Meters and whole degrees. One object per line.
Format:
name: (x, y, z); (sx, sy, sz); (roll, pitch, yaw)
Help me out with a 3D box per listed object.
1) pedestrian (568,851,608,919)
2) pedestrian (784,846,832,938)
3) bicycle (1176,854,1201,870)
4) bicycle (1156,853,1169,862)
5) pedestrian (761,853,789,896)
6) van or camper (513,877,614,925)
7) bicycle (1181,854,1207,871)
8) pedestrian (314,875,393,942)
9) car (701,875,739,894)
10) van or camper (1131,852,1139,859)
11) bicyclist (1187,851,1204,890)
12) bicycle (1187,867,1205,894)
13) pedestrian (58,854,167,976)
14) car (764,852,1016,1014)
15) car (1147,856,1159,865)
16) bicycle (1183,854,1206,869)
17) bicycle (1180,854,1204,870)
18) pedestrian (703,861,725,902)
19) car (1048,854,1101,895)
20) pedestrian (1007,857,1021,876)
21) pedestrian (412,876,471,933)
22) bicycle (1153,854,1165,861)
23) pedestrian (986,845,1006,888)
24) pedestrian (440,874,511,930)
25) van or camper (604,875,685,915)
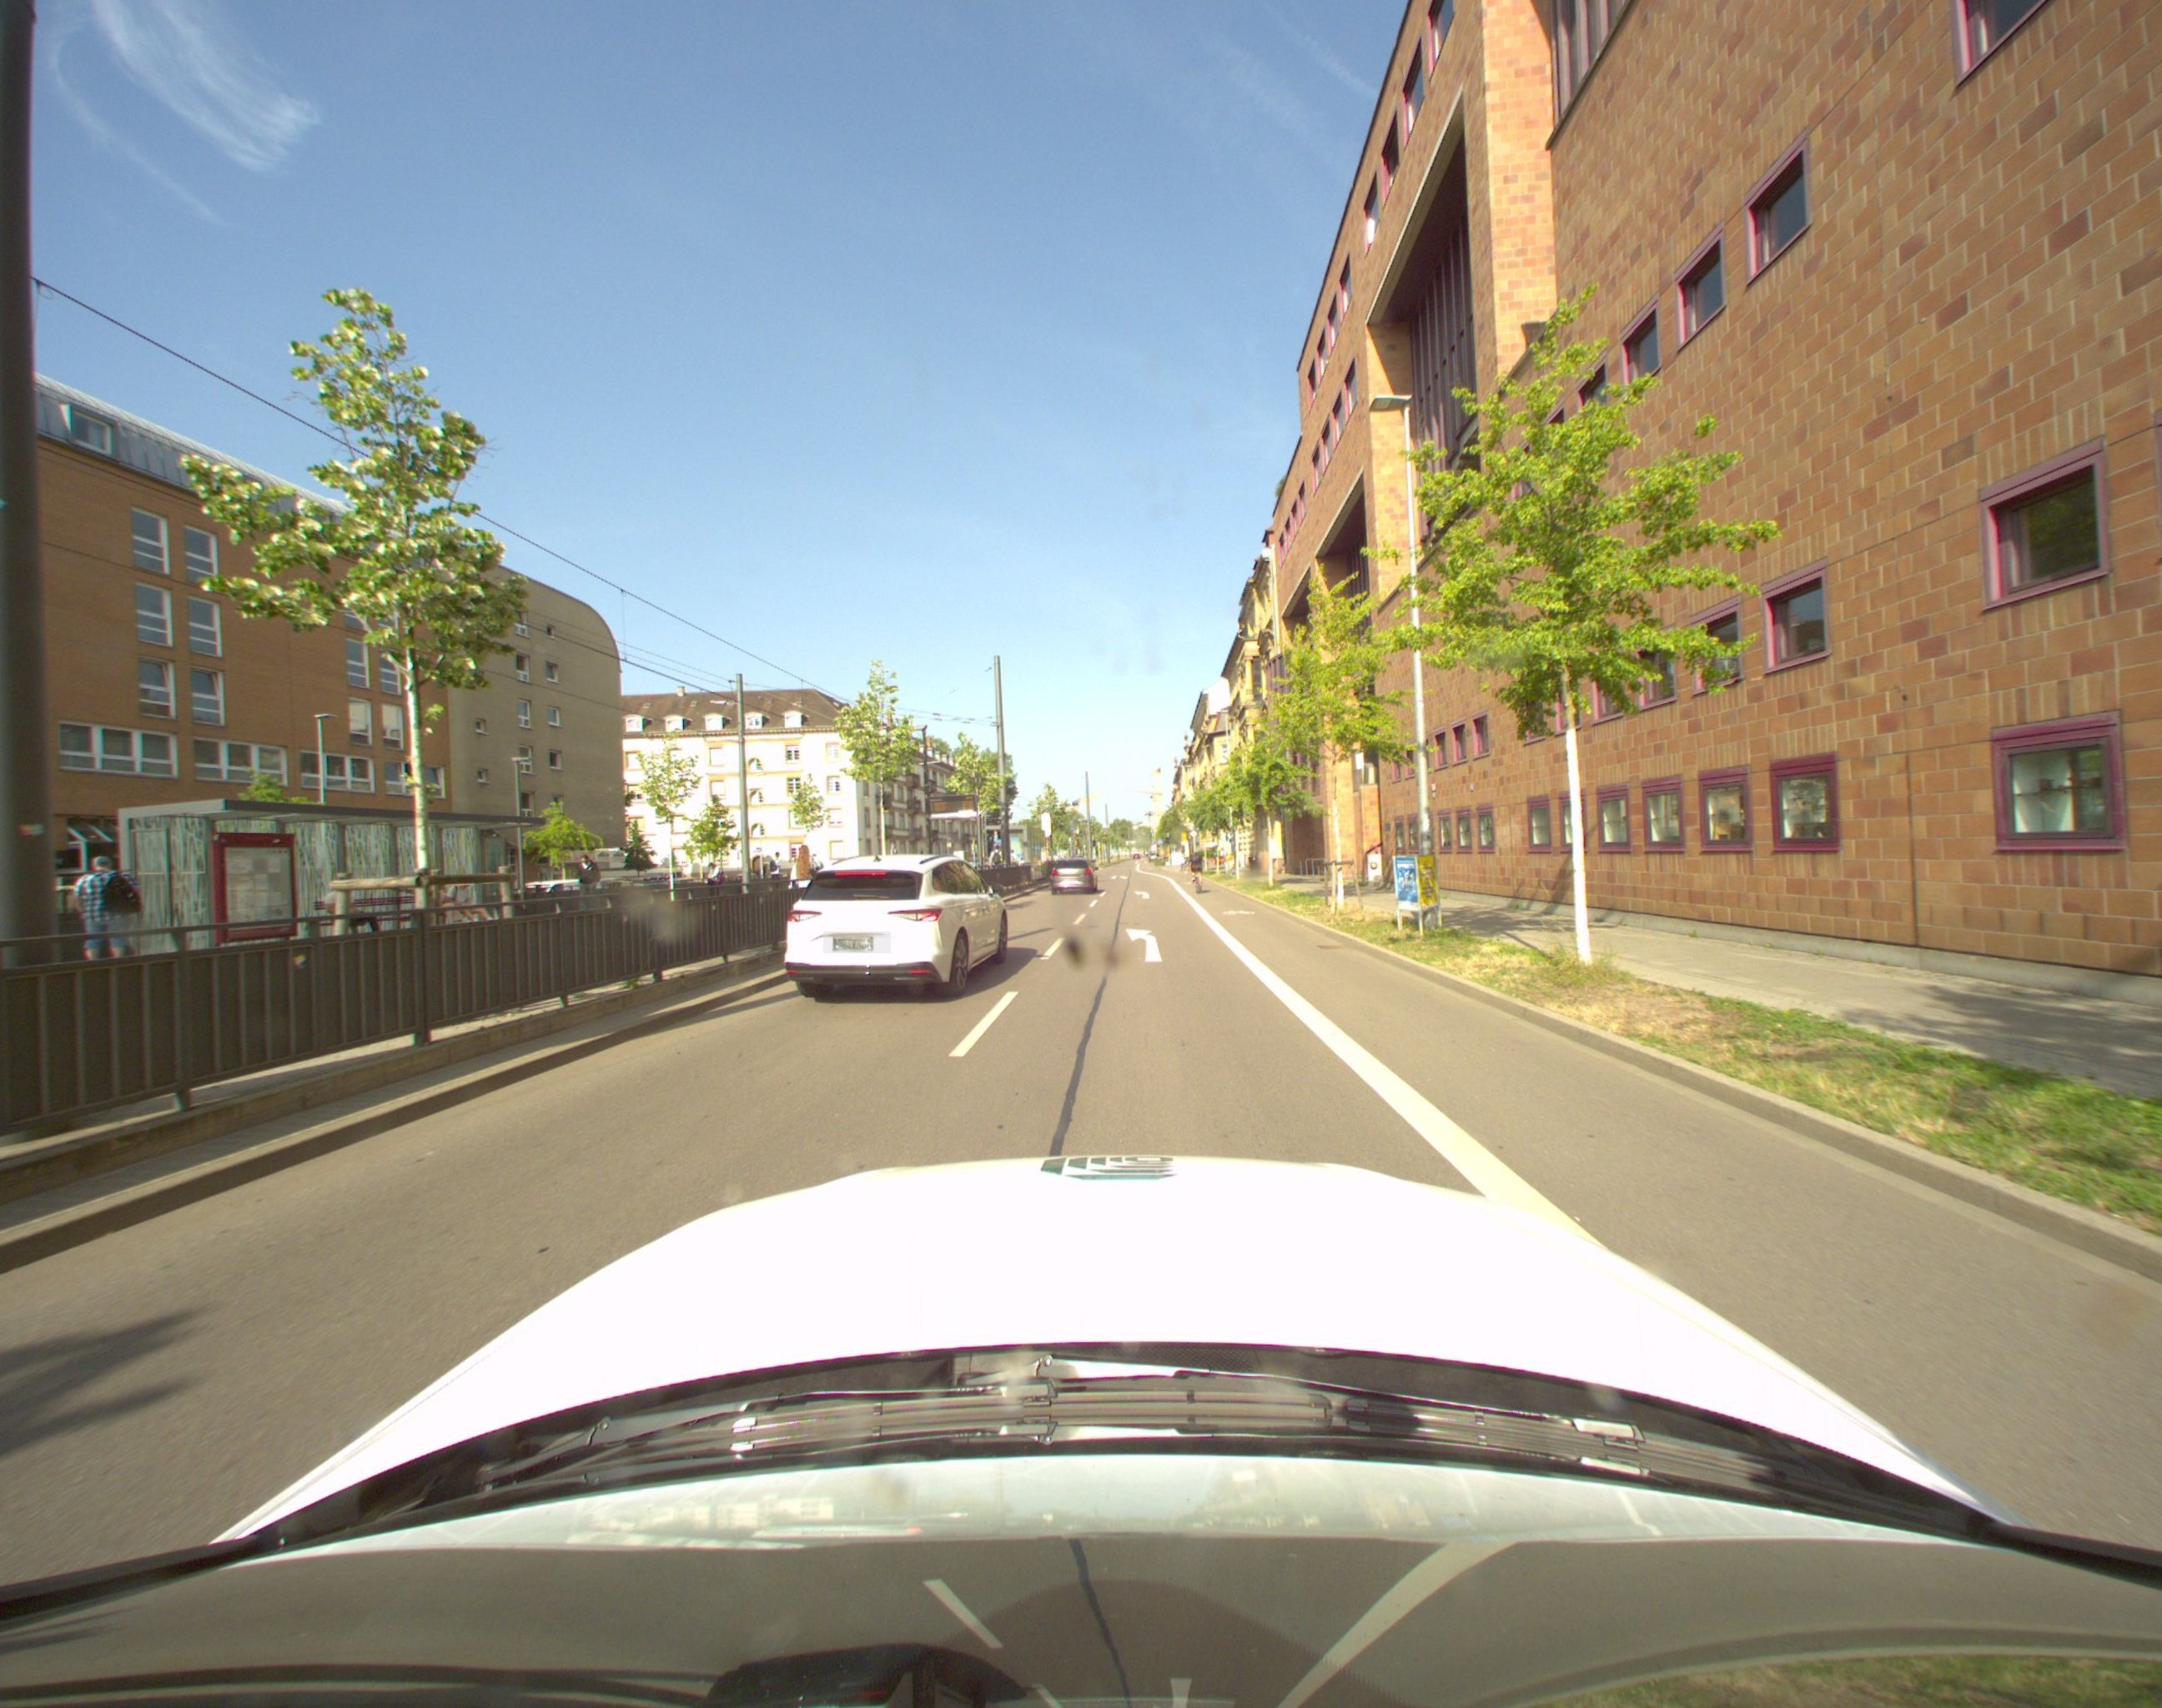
pedestrian: (-14.191, 0.882, 23.455); (0.812, 1.886, 0.548); (-2, -1, -43)
pedestrian: (-5.336, 0.723, 15.937); (0.670, 1.758, 0.727); (0, -1, 3)
bicycle: (8.392, 0.644, 63.663); (1.761, 1.087, 0.668); (-6, 0, -19)
bicycle: (12.451, 0.530, 124.417); (1.802, 1.096, 0.671); (-5, 0, -1)
pedestrian: (-13.486, 0.891, 35.917); (0.735, 1.872, 0.941); (-3, 0, 6)
van or camper: (-25.610, 2.295, 40.507); (1.982, 2.013, 4.010); (-3, 0, 9)
bicycle: (8.429, 0.662, 60.944); (1.753, 1.087, 0.610); (-6, 0, -5)
pedestrian: (-15.419, 1.147, 17.278); (0.866, 1.314, 0.809); (-3, 0, 1)
car: (-33.060, 2.759, 74.693); (1.668, 1.532, 3.924); (-3, 0, -1)
van or camper: (14.507, 0.404, 219.463); (1.985, 1.655, 4.004); (-3, 0, 4)
bicyclist: (4.440, 0.636, 31.601); (0.581, 1.482, 0.932); (0, 0, 1)
bicycle: (4.447, 1.001, 31.490); (0.503, 0.953, 1.785); (0, 1, 2)
pedestrian: (-14.902, 0.921, 12.564); (0.788, 1.746, 0.826); (-4, -1, -32)
car: (-2.115, 0.803, 10.430); (1.809, 1.590, 4.412); (-2, 0, 5)
car: (12.961, 1.183, 147.291); (1.763, 1.588, 4.249); (-4, 0, 1)
bicycle: (9.257, 0.616, 66.476); (1.743, 1.087, 0.584); (-5, 0, 7)
bicycle: (8.909, 0.643, 65.239); (1.745, 1.087, 0.670); (-5, 0, 9)
pedestrian: (-14.059, 1.056, 31.224); (0.679, 1.530, 0.805); (-3, -1, -27)
car: (-0.193, 0.786, 33.237); (1.746, 1.484, 4.412); (-2, 0, 5)
pedestrian: (-6.930, 1.267, 84.271); (1.072, 1.867, 0.857); (-2, -1, -23)
pedestrian: (-15.078, 1.176, 19.214); (0.788, 1.245, 0.676); (-4, 0, 3)
bicycle: (12.085, 0.543, 125.736); (1.777, 1.054, 0.373); (-5, 0, 2)
pedestrian: (-4.064, 0.582, 38.876); (0.830, 2.014, 1.028); (0, -1, 1)
pedestrian: (-14.811, 1.166, 19.937); (1.148, 1.245, 0.676); (-4, 0, 3)
van or camper: (-24.639, 2.292, 46.129); (1.919, 1.968, 4.010); (-3, 0, 9)
